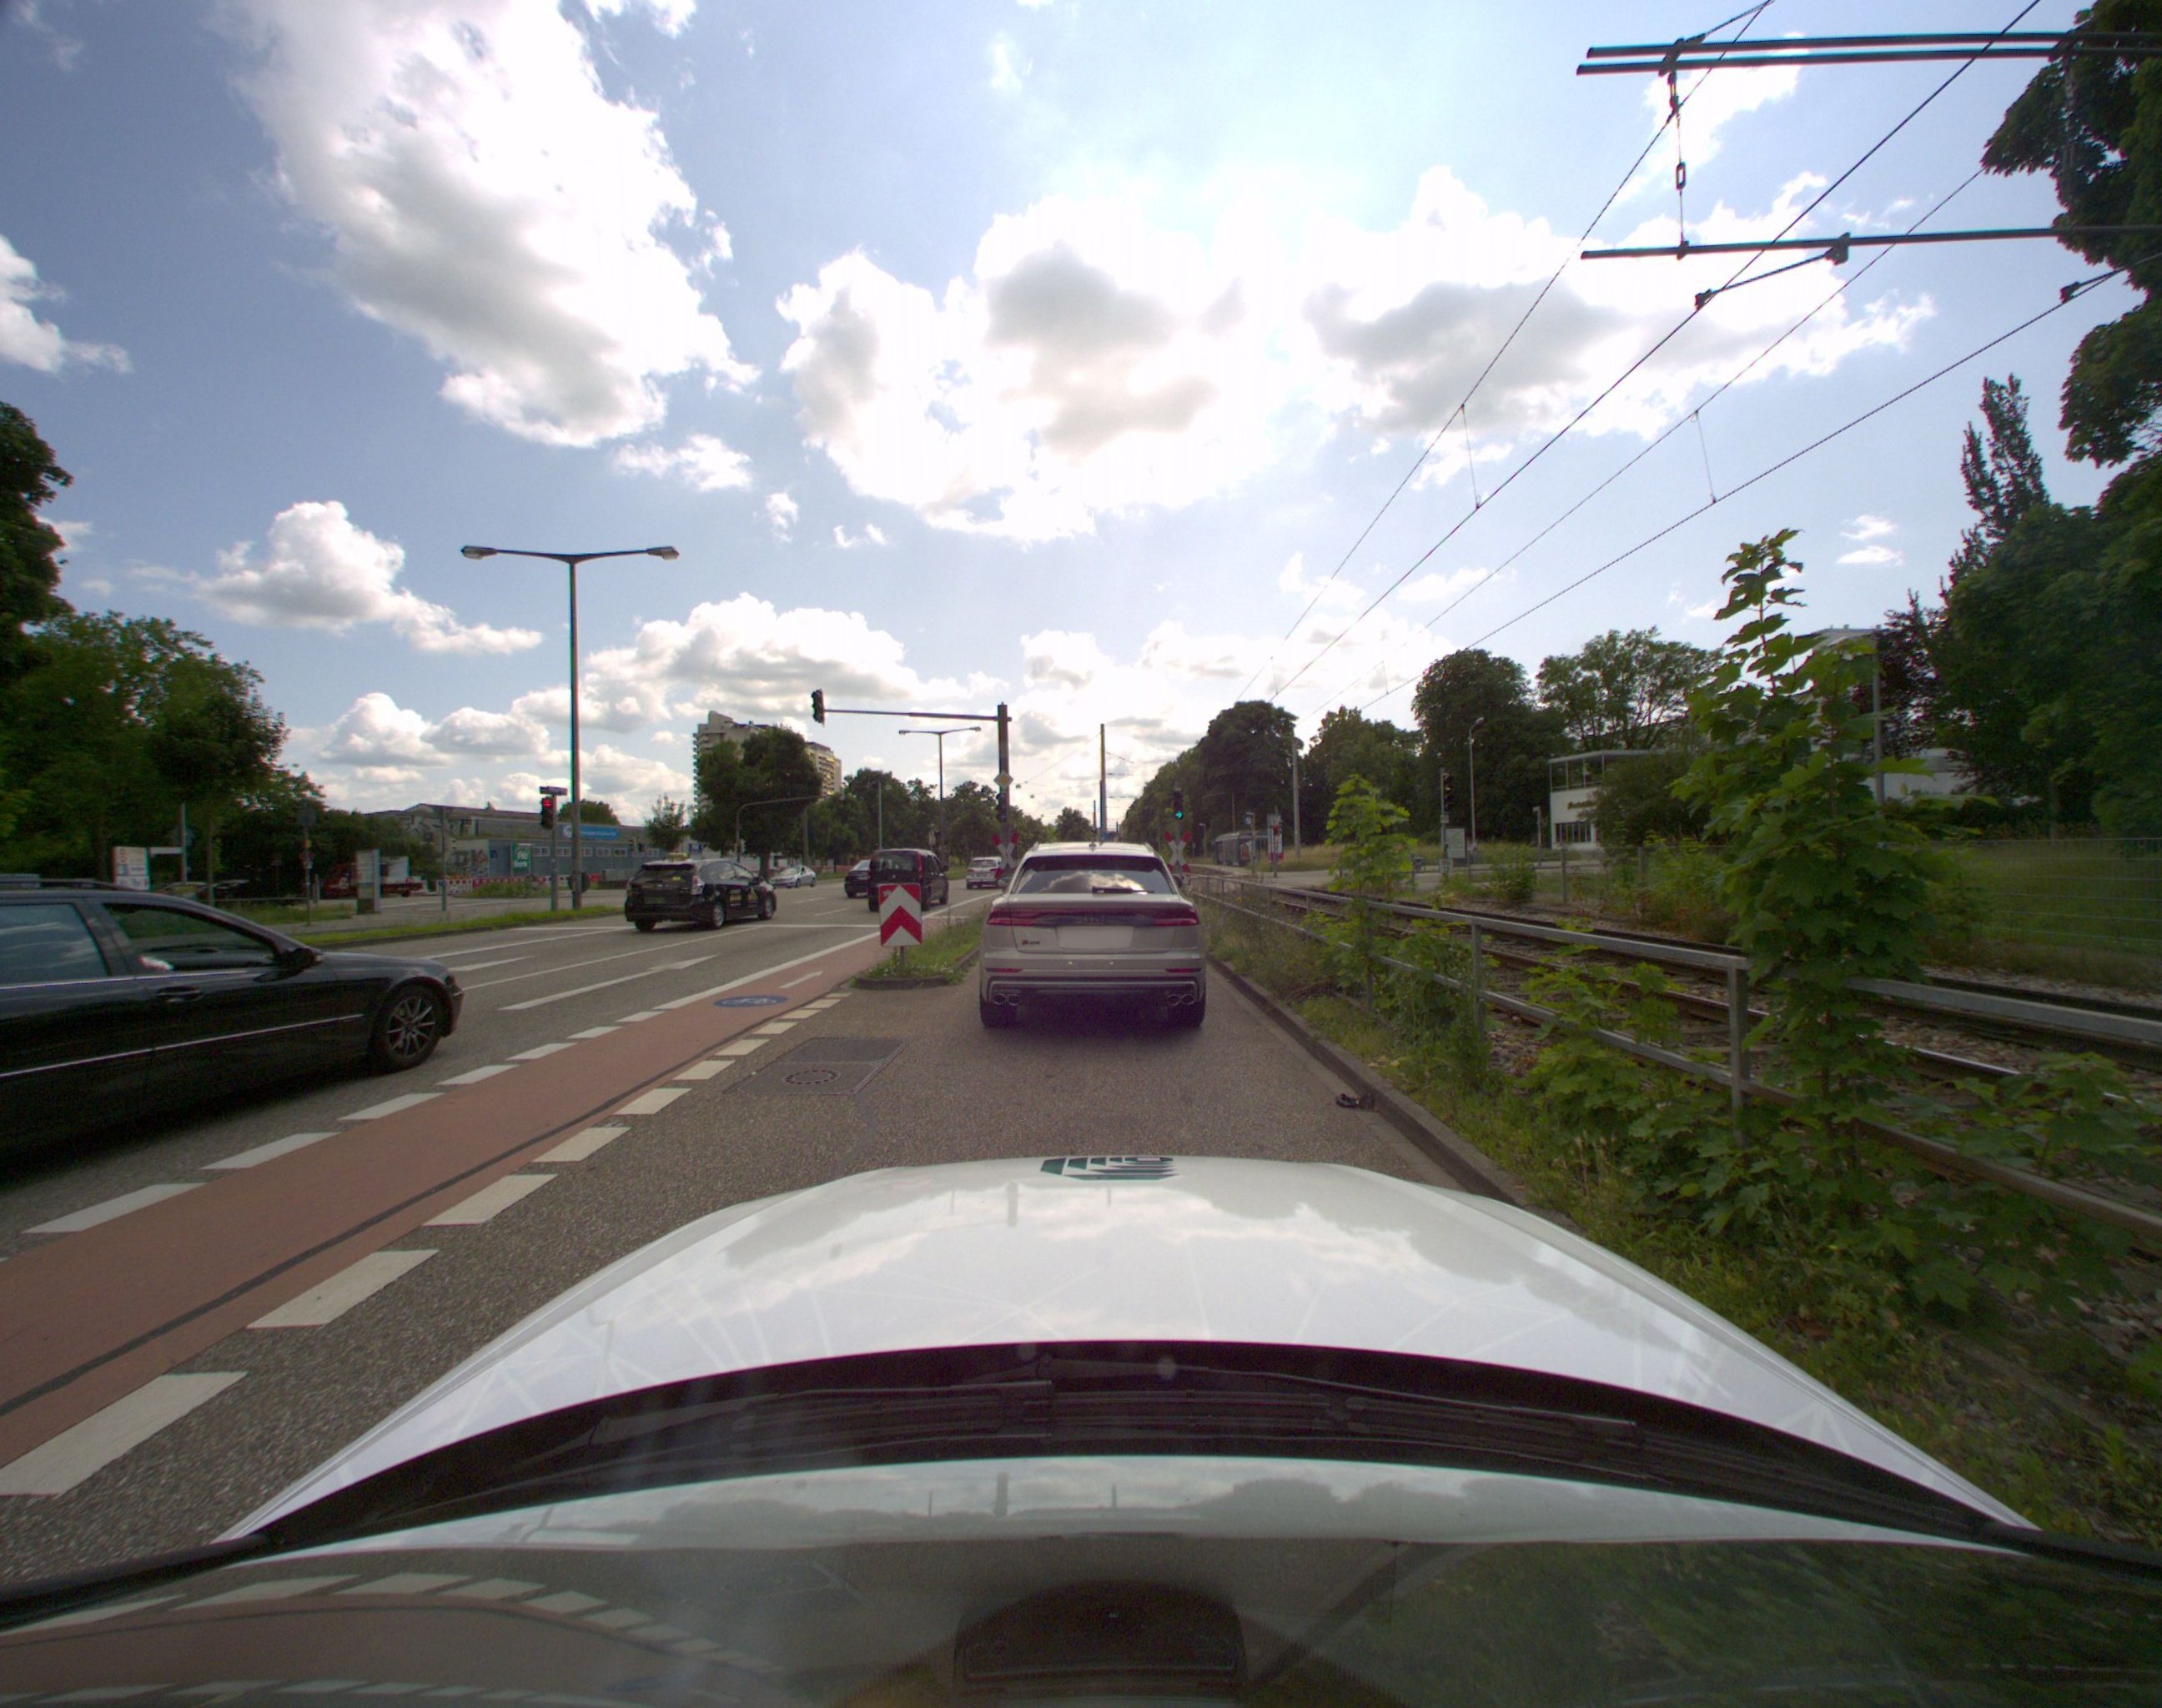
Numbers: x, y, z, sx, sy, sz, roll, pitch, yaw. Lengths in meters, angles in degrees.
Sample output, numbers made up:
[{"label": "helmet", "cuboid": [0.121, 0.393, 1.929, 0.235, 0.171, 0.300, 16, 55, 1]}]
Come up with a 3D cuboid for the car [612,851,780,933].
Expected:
[{"label": "car", "cuboid": [-8.682, 0.796, 18.846, 1.779, 1.668, 4.340, 0, -1, 1]}]

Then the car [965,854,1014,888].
[{"label": "car", "cuboid": [-4.295, 0.772, 38.686, 1.779, 1.525, 4.301, 0, -1, 1]}]

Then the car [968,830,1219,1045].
[{"label": "car", "cuboid": [0.167, 0.679, 8.729, 1.974, 1.684, 4.576, 0, -1, 2]}]

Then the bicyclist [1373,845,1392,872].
[{"label": "bicyclist", "cuboid": [16.361, 0.242, 44.234, 0.835, 1.475, 0.456, -2, -1, 3]}]

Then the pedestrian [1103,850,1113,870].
[{"label": "pedestrian", "cuboid": [2.120, 0.485, 64.900, 0.653, 1.513, 0.716, -2, 0, -8]}]

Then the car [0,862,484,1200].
[{"label": "car", "cuboid": [-5.666, 0.821, 4.301, 1.749, 1.466, 4.432, -2, 0, -1]}]

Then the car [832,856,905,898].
[{"label": "car", "cuboid": [-8.249, 0.867, 31.924, 1.859, 1.504, 3.998, 0, -1, -1]}]

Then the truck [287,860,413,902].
[{"label": "truck", "cuboid": [-47.488, 1.745, 52.958, 6.906, 2.439, 3.054, -2, 0, 19]}]

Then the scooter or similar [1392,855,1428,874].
[{"label": "scooter or similar", "cuboid": [17.815, 0.556, 44.172, 1.568, 0.979, 0.963, -2, -1, 3]}]

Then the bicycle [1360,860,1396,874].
[{"label": "bicycle", "cuboid": [16.137, 0.706, 44.265, 1.714, 0.765, 0.556, -1, -1, 3]}]

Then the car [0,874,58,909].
[{"label": "car", "cuboid": [-58.426, 2.034, 44.518, 3.578, 1.793, 1.946, -1, -1, 18]}]

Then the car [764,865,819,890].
[{"label": "car", "cuboid": [-18.342, 1.464, 51.822, 1.794, 1.432, 4.495, -2, 0, 0]}]

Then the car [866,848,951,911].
[{"label": "car", "cuboid": [-5.210, 0.743, 25.067, 1.754, 1.777, 3.908, 0, -1, 0]}]
